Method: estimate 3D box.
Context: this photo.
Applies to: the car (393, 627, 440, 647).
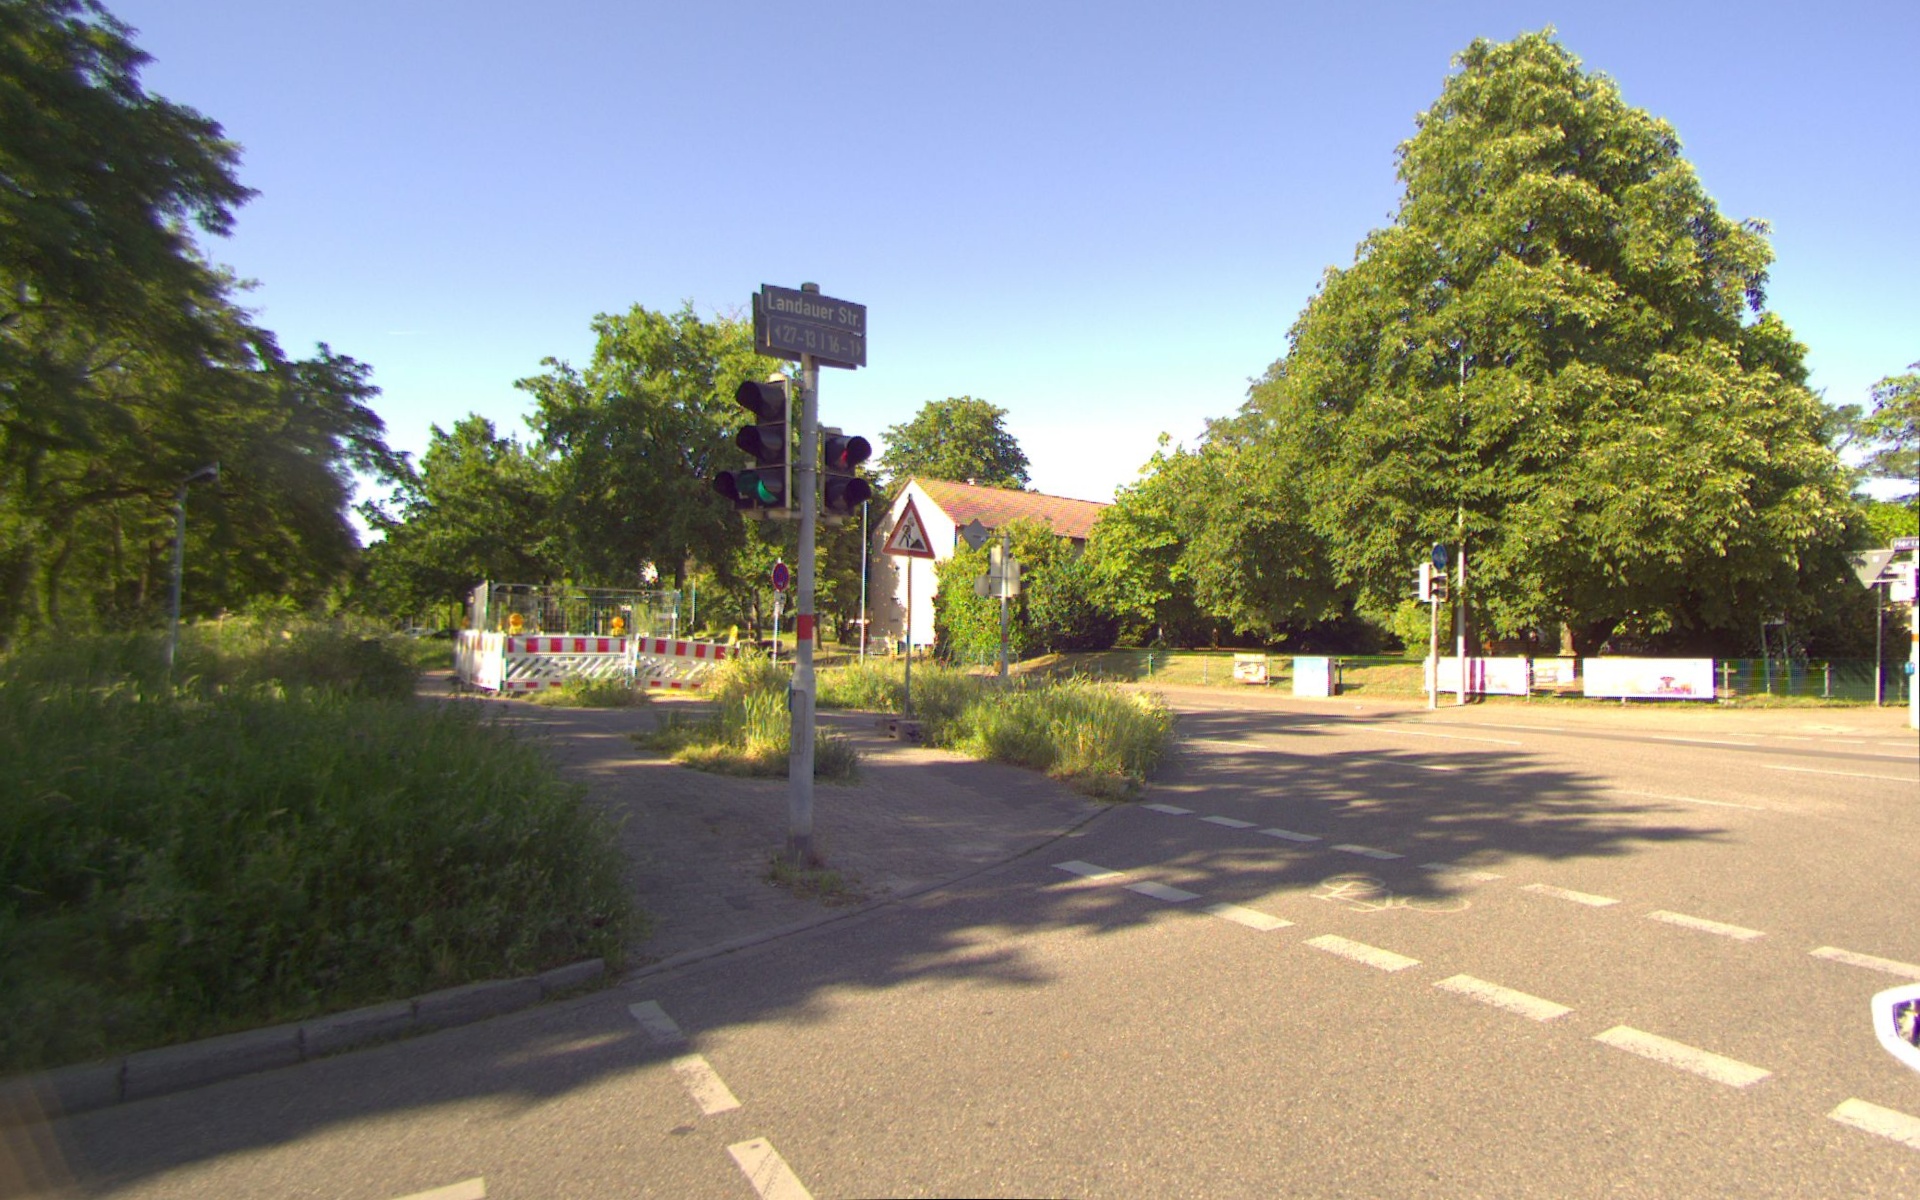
[{"bbox_3d":[-54.420,3.687,100.668,3.959,1.951,1.981,2,0,-34],"label":"car"}]
